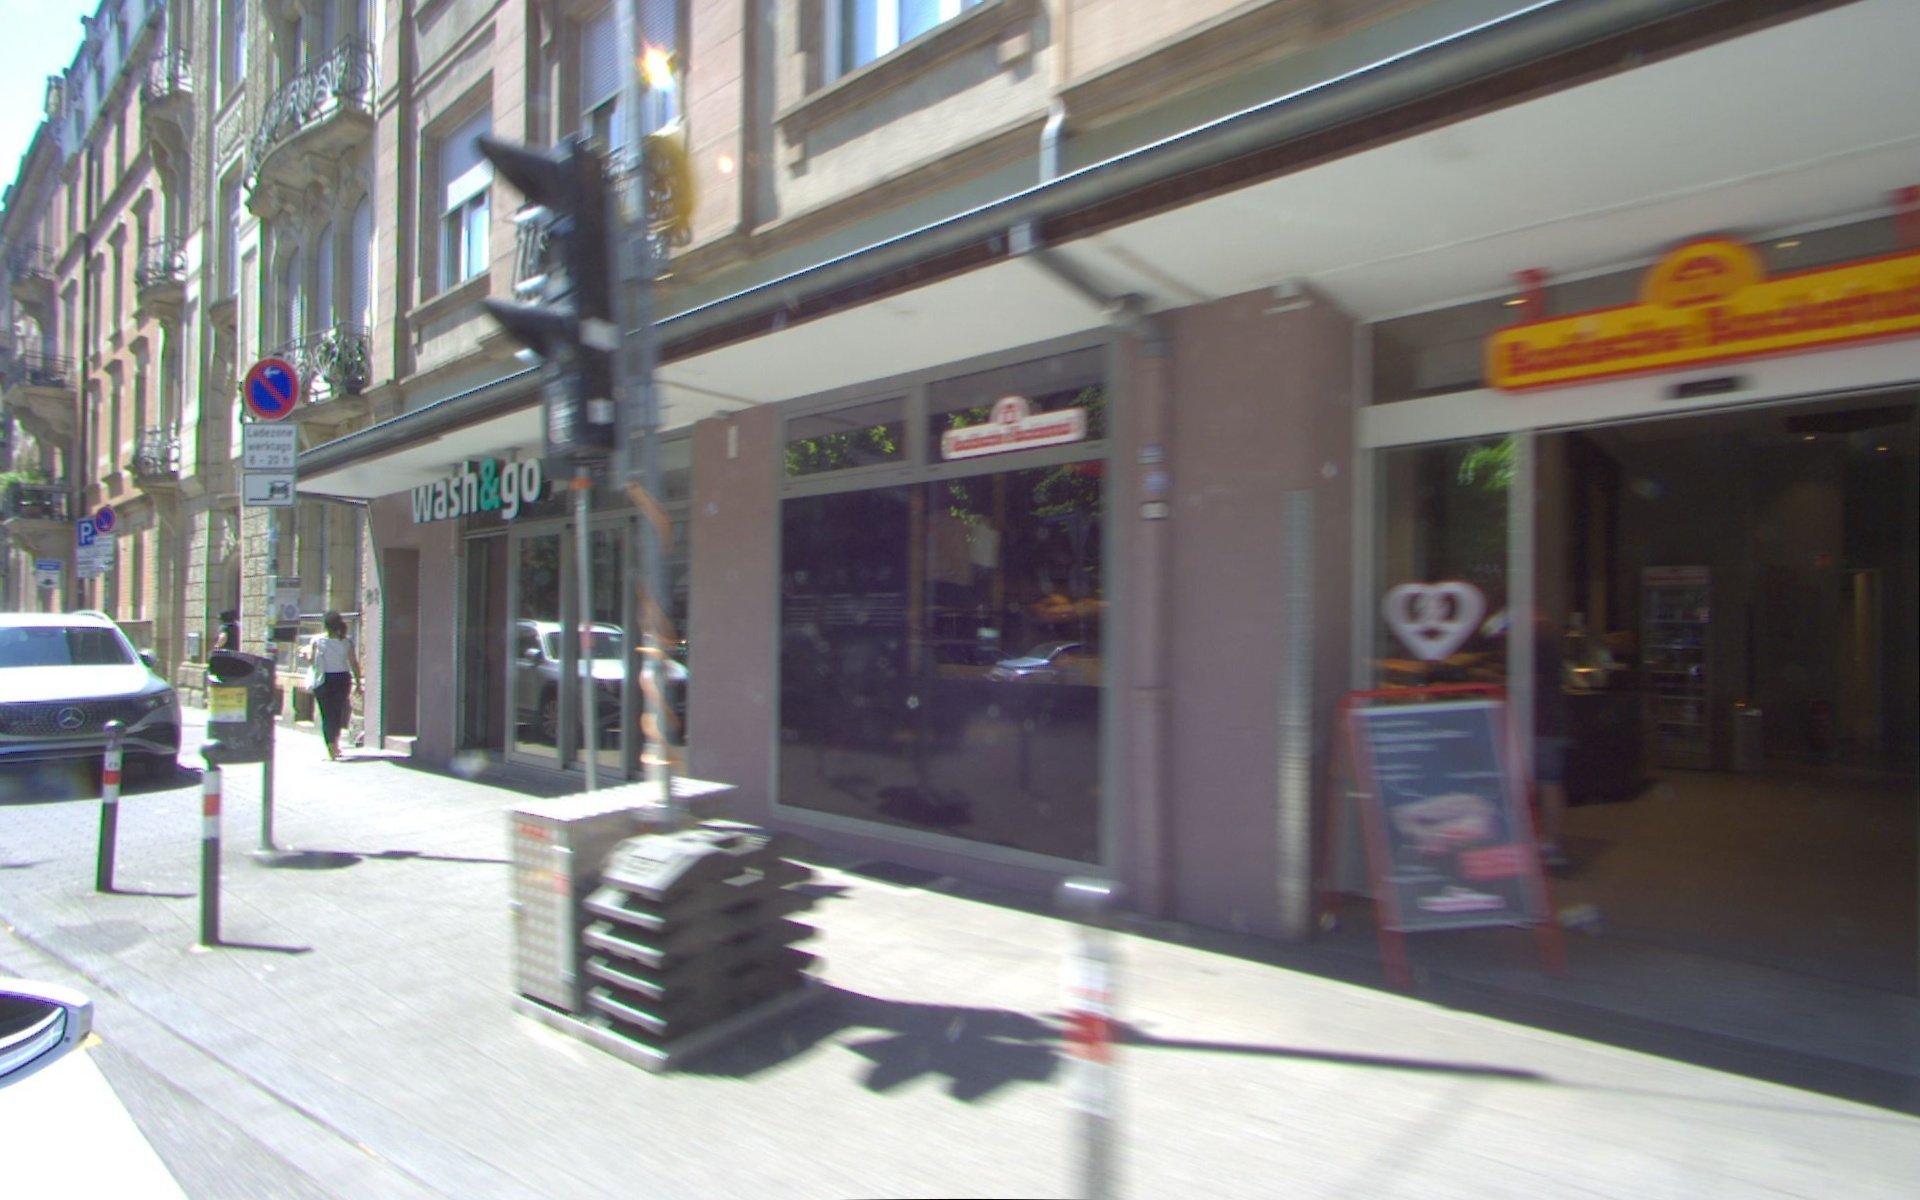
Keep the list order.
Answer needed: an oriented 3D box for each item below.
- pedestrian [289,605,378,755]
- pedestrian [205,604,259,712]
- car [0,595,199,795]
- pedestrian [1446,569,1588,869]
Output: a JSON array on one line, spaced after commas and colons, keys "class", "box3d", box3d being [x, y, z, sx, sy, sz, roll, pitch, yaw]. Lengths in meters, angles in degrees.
[{"class": "pedestrian", "box3d": [-7.185, 0.890, 11.484, 0.795, 1.644, 0.638, 0, -2, 42]}, {"class": "pedestrian", "box3d": [-12.313, 0.957, 16.931, 0.739, 1.774, 0.511, 1, 1, 34]}, {"class": "car", "box3d": [-9.641, 0.865, 10.527, 4.454, 1.736, 1.861, -1, -1, 43]}, {"class": "pedestrian", "box3d": [3.202, 0.666, 5.778, 0.543, 1.649, 0.450, 1, -1, -9]}]
